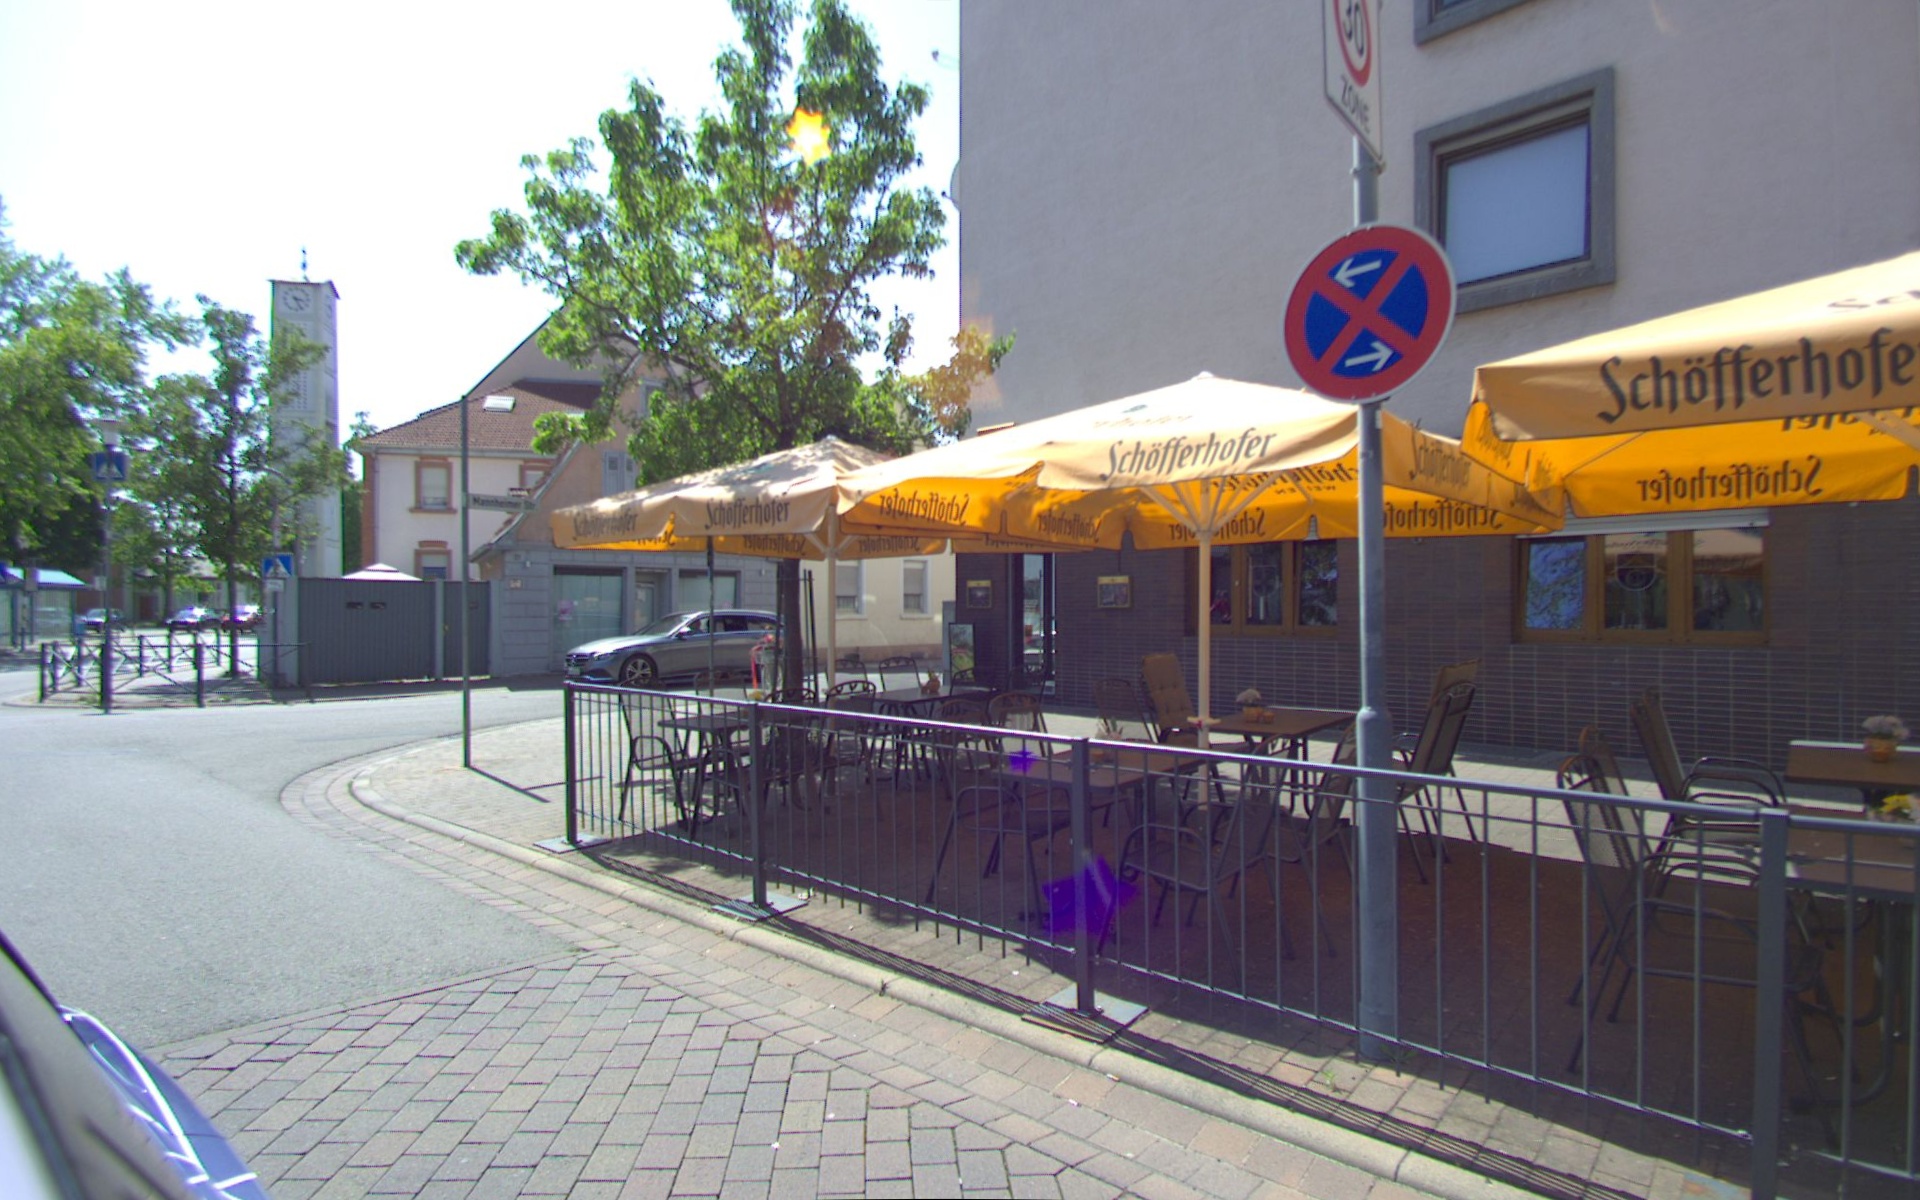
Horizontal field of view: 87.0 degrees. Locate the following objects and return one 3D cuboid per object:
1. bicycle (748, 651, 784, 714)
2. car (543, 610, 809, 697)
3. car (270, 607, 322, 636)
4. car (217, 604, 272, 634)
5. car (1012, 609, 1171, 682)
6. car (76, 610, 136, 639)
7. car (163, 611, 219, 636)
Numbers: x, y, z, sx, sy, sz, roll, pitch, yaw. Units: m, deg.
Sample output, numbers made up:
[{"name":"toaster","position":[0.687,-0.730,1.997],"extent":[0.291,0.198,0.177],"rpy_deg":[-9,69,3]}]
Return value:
[{"name":"bicycle","position":[-3.017,1.263,15.821],"extent":[0.457,0.904,1.416],"rpy_deg":[-1,-2,-8]},{"name":"car","position":[-5.498,0.977,20.059],"extent":[4.772,1.492,1.916],"rpy_deg":[0,-1,-45]},{"name":"car","position":[-42.172,1.355,64.331],"extent":[1.751,1.807,4.012],"rpy_deg":[1,-1,-18]},{"name":"car","position":[-44.912,1.180,63.590],"extent":[1.751,1.807,4.012],"rpy_deg":[0,-2,-19]},{"name":"car","position":[2.894,0.946,21.934],"extent":[3.432,1.465,1.583],"rpy_deg":[1,-2,-43]},{"name":"car","position":[-51.113,1.458,60.655],"extent":[1.965,1.629,4.013],"rpy_deg":[1,-1,-28]},{"name":"car","position":[-47.198,1.467,62.168],"extent":[1.622,1.479,3.791],"rpy_deg":[0,-2,-19]}]
